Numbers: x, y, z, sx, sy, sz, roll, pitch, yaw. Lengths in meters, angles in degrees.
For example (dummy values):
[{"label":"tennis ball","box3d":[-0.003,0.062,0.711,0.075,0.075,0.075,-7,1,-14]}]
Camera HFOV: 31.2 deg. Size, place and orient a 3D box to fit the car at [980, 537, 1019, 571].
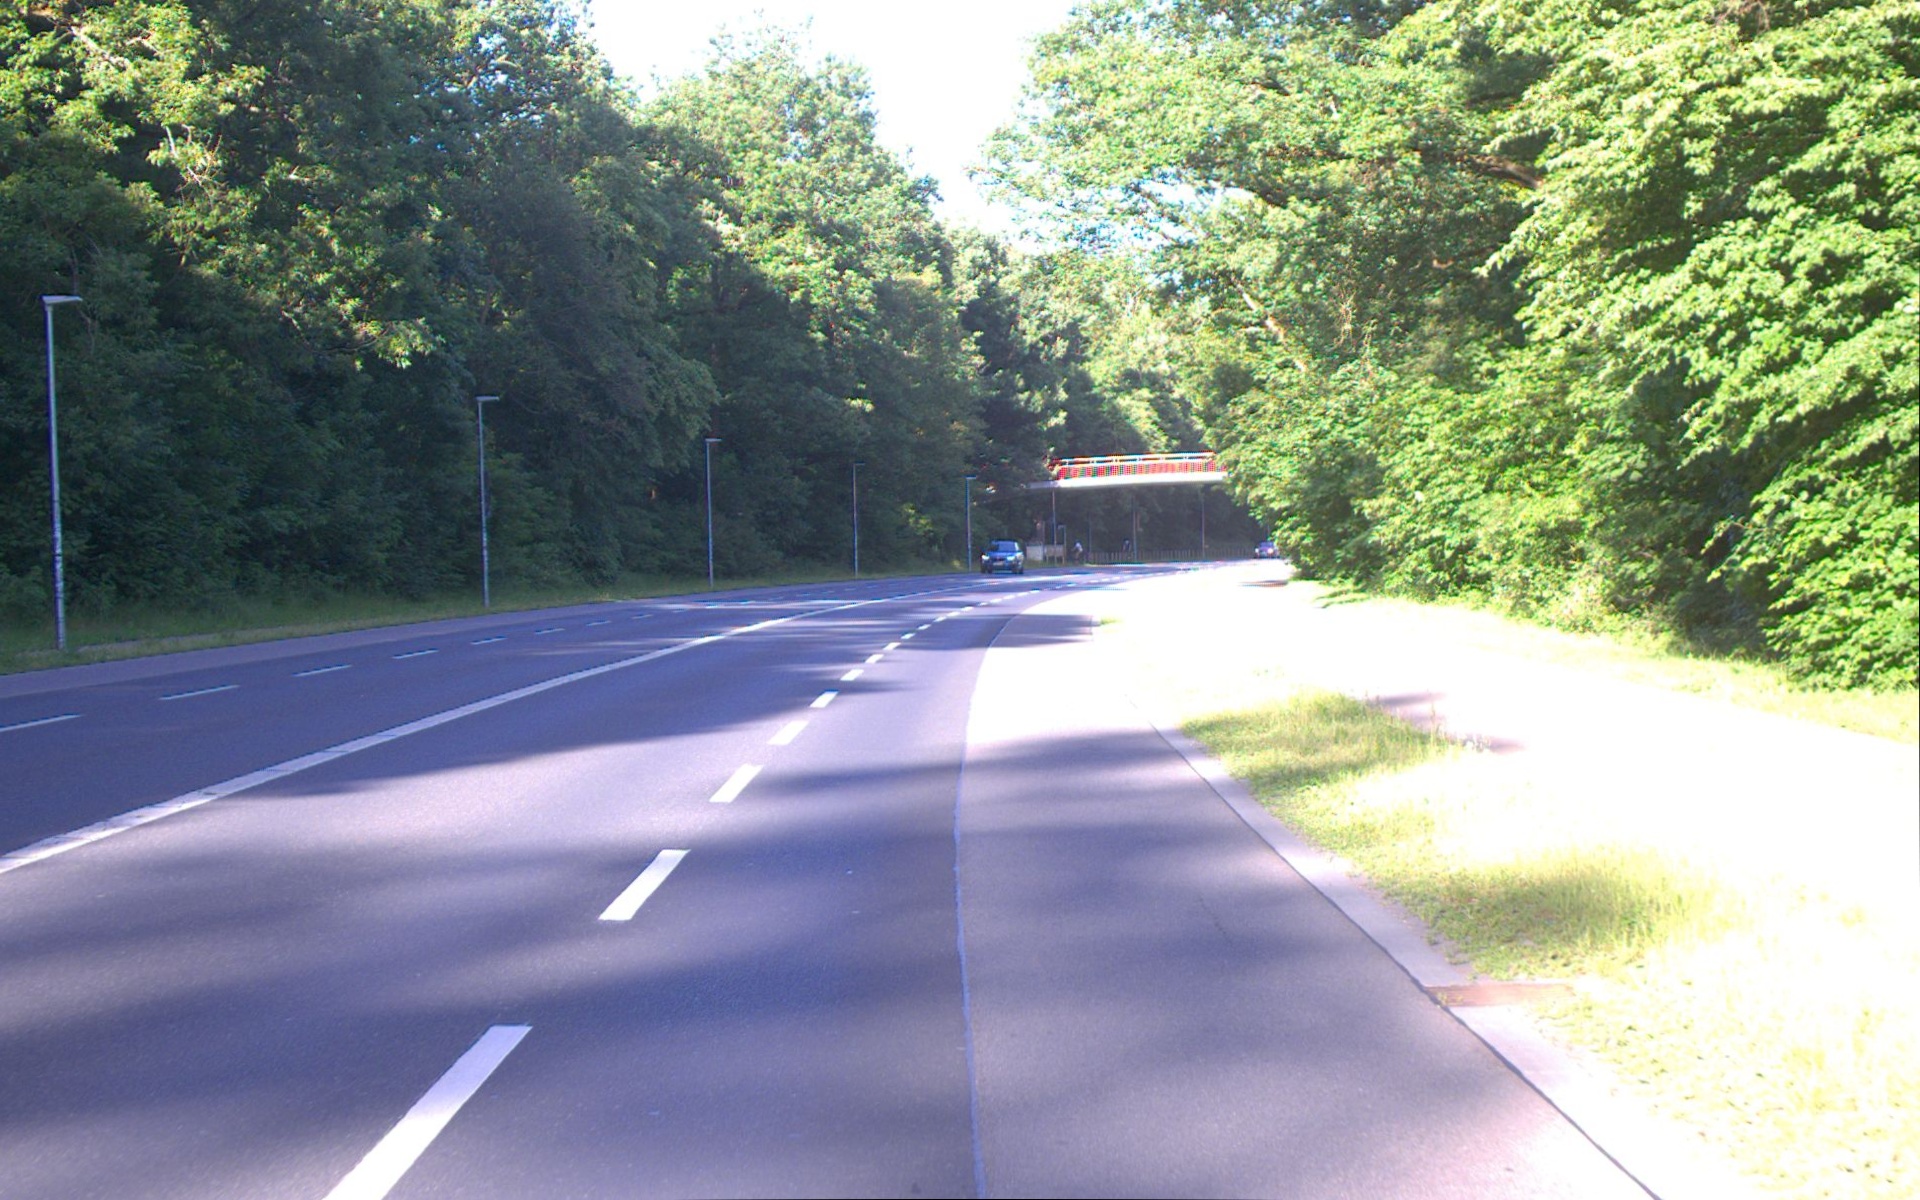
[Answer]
[{"label":"car","box3d":[1.976,-2.303,171.838,1.807,1.657,4.521,0,1,2]}]
